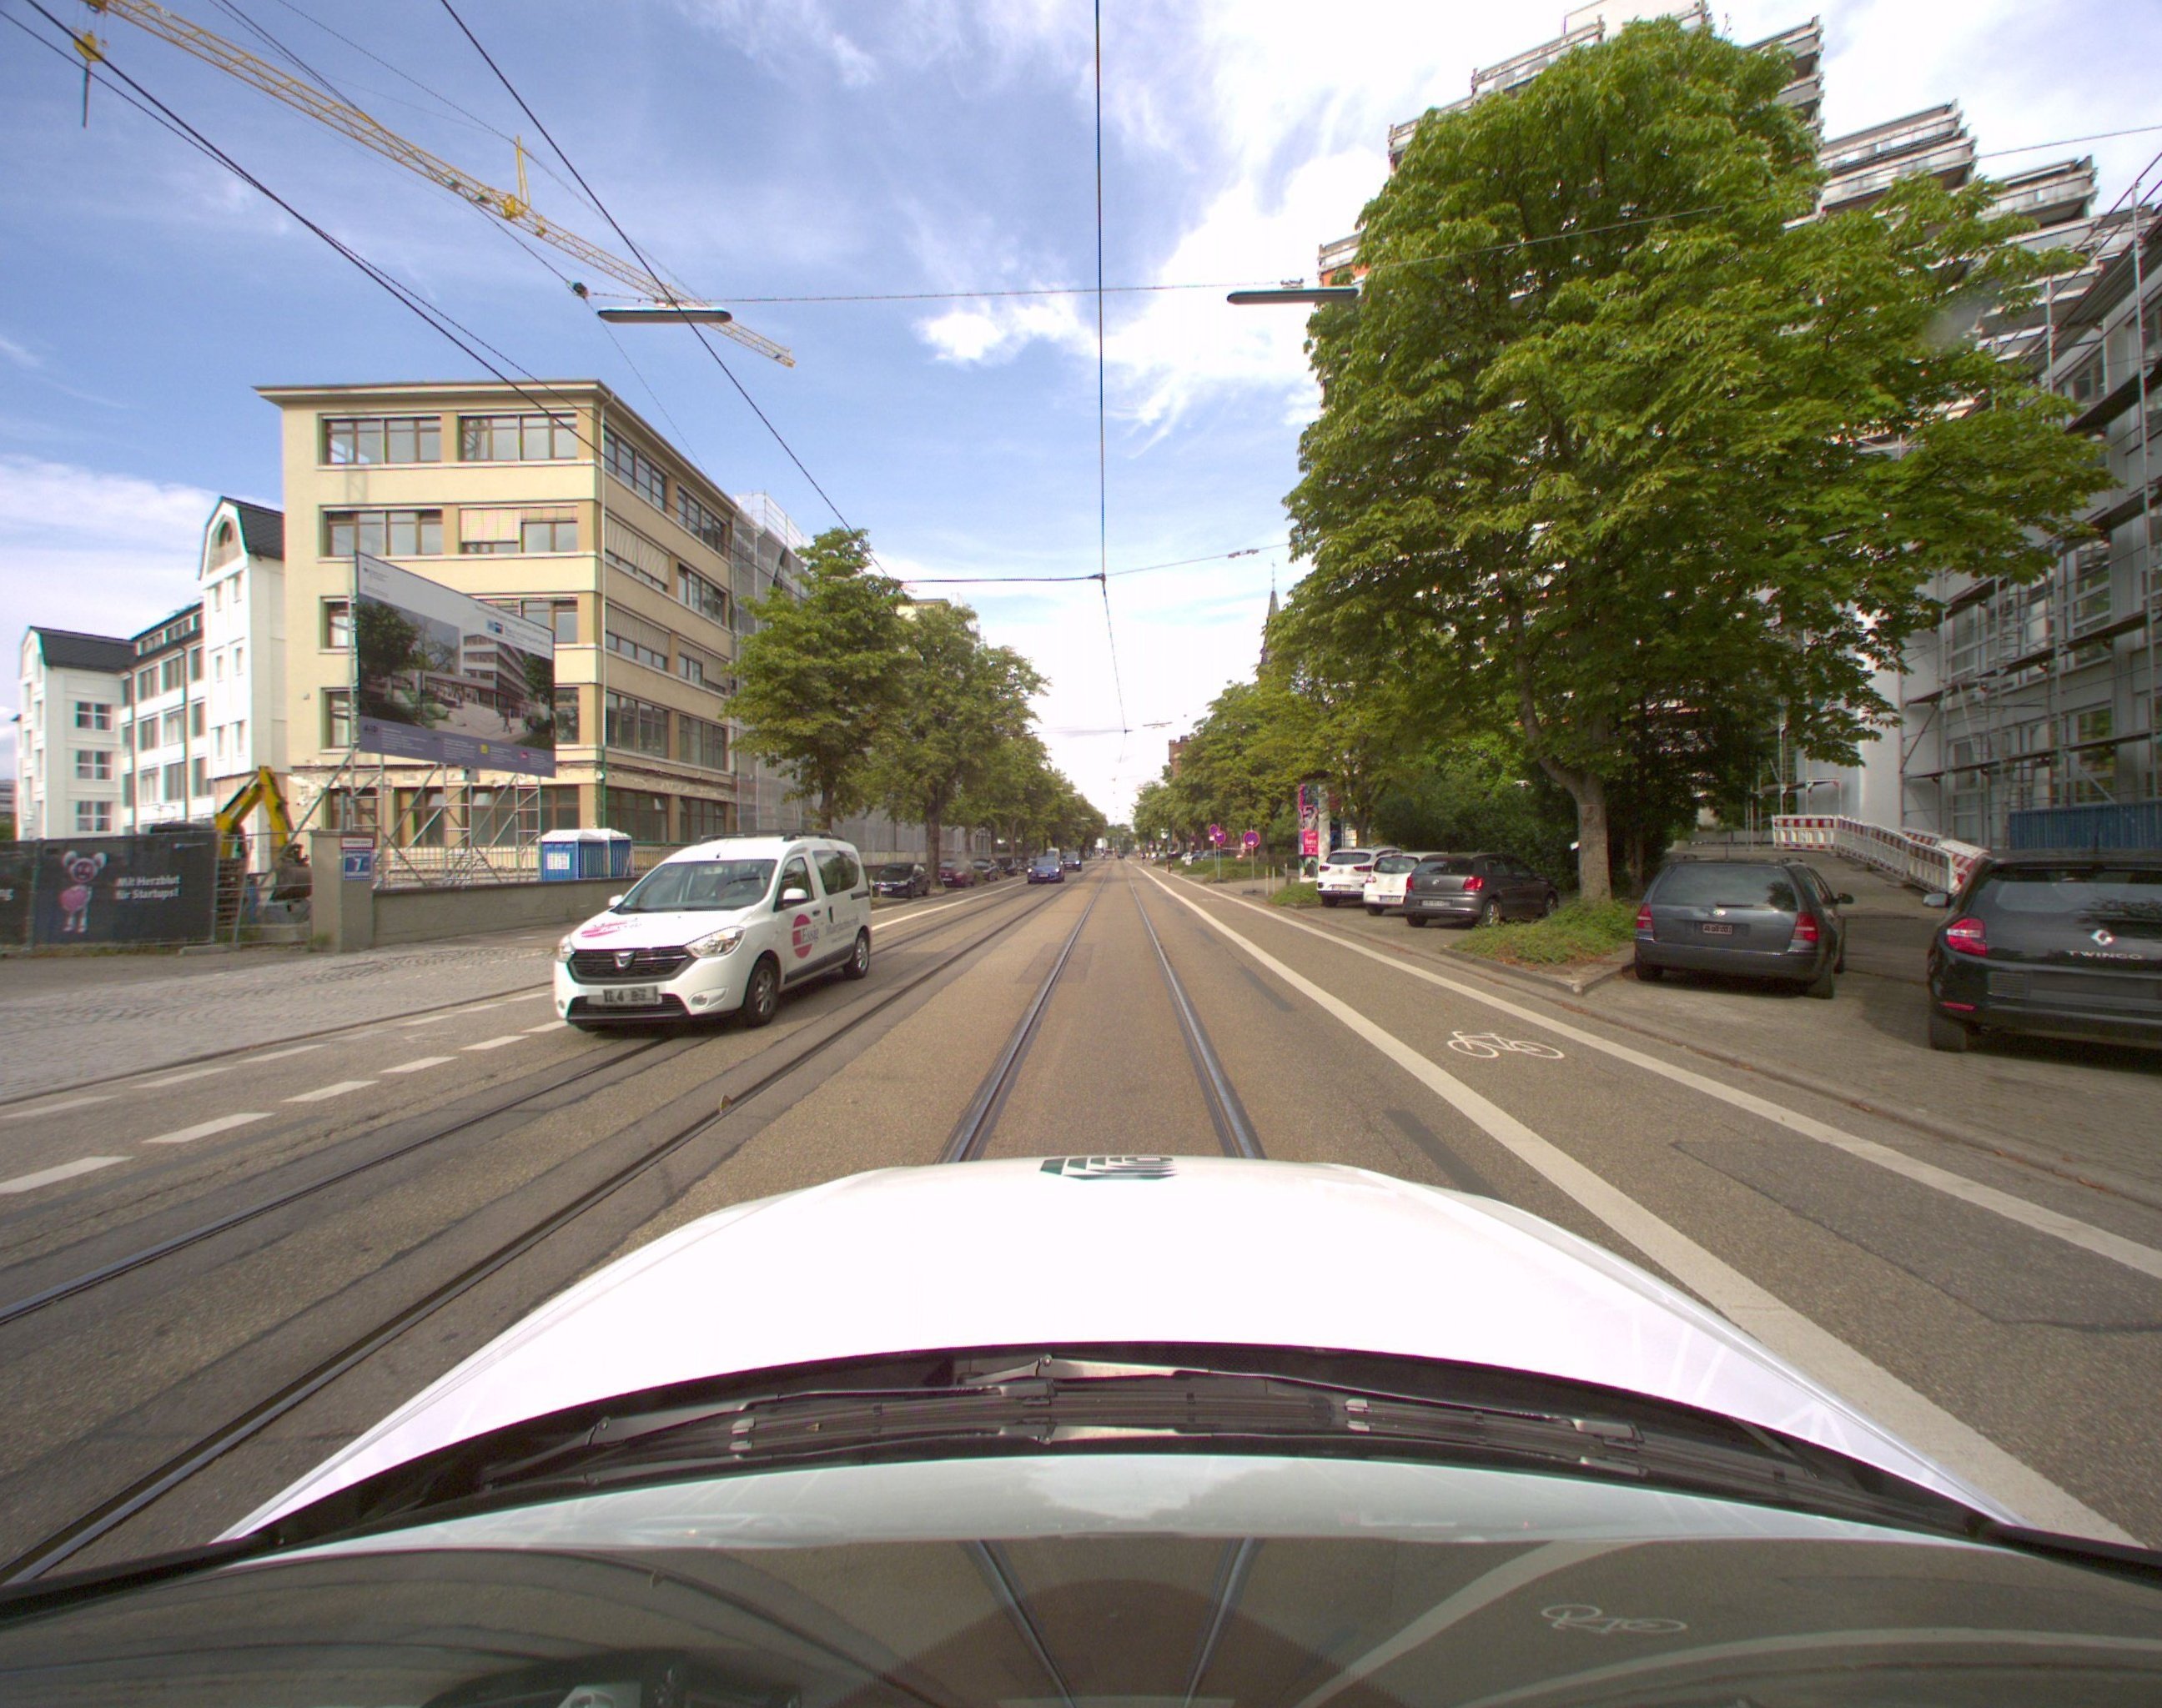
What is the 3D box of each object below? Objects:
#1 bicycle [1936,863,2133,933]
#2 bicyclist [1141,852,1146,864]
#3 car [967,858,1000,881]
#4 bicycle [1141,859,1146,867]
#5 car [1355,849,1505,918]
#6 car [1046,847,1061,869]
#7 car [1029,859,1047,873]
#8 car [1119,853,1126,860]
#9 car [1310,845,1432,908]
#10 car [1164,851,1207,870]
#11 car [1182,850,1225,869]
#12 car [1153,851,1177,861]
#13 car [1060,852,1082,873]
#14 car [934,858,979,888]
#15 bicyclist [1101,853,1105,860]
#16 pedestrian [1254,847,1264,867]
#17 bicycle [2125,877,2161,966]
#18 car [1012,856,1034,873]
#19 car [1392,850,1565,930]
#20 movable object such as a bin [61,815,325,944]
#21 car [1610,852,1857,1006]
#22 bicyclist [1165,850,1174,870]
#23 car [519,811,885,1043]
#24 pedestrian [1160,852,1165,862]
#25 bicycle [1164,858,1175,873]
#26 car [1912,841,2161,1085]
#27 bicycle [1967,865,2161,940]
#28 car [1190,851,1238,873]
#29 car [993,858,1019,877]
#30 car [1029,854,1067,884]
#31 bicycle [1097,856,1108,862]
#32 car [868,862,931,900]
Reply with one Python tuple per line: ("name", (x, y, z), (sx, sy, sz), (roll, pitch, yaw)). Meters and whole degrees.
("bicycle", (15.117, 0.666, 13.001), (1.952, 1.043, 0.598), (0, 0, 39))
("bicyclist", (8.041, 0.519, 104.961), (0.656, 1.496, 0.930), (-1, 0, 3))
("car", (-6.231, 0.956, 52.423), (1.585, 1.402, 3.962), (0, 0, 0))
("bicycle", (8.042, 1.147, 104.955), (0.661, 1.043, 1.842), (-1, 0, 3))
("car", (8.297, 0.628, 19.269), (3.663, 1.474, 1.663), (0, -1, -37))
("car", (-3.615, 0.509, 106.781), (1.715, 2.704, 5.470), (0, 0, 0))
("car", (-4.368, 1.196, 83.229), (1.585, 1.402, 3.962), (0, 0, 0))
("car", (11.259, 0.636, 222.789), (1.788, 1.824, 4.680), (0, 0, 2))
("car", (8.053, 0.566, 22.494), (3.667, 1.602, 1.661), (0, -1, -43))
("car", (9.063, 0.528, 70.441), (3.667, 1.602, 1.661), (0, -1, -43))
("car", (10.322, 0.446, 68.316), (3.667, 1.602, 1.661), (0, -1, -43))
("car", (14.871, 0.391, 144.628), (3.978, 1.693, 1.998), (-1, 0, -3))
("car", (-0.827, 0.703, 69.928), (1.726, 1.628, 4.380), (-2, 0, 2))
("car", (-6.548, 0.949, 43.222), (1.629, 1.496, 3.964), (0, 0, 2))
("bicyclist", (4.584, 0.504, 169.233), (0.841, 1.504, 0.771), (-1, 0, 10))
("pedestrian", (16.348, 0.299, 74.780), (0.779, 1.826, 0.665), (-1, 0, 22))
("bicycle", (13.616, 0.782, 9.428), (1.817, 1.043, 0.456), (-2, -1, 31))
("car", (-5.169, 0.928, 73.023), (1.585, 1.402, 3.962), (0, 0, 0))
("car", (8.026, 0.644, 16.346), (3.663, 1.419, 1.663), (0, -1, -37))
("movable object such as a bin", (-18.350, 0.500, 16.967), (3.030, 2.443, 2.506), (-1, -1, 12))
("car", (7.884, 0.707, 9.682), (4.194, 1.415, 1.794), (0, -1, -45))
("bicyclist", (6.571, 0.416, 60.485), (0.591, 1.459, 0.875), (-1, 0, 0))
("car", (-3.622, 0.592, 8.825), (1.725, 1.884, 4.381), (-1, 0, 3))
("pedestrian", (14.419, 0.603, 144.337), (0.741, 1.790, 0.734), (-1, -1, 17))
("bicycle", (6.571, 0.867, 60.482), (0.591, 1.043, 1.978), (-1, 0, 0))
("car", (7.888, 0.671, 6.494), (3.436, 1.537, 1.577), (-1, 0, -41))
("bicycle", (14.752, 0.692, 12.166), (1.952, 1.043, 0.598), (-1, 0, 30))
("car", (10.050, 0.597, 61.563), (3.667, 1.602, 1.661), (0, -1, -43))
("car", (-5.774, 0.998, 62.731), (1.585, 1.402, 3.962), (0, 0, 0))
("car", (-1.763, 0.772, 44.594), (1.725, 1.496, 4.381), (-1, 0, 2))
("bicycle", (4.524, 0.966, 169.246), (2.260, 1.189, 0.771), (-1, 0, 10))
("car", (-7.169, 1.023, 32.570), (1.585, 1.402, 3.962), (0, 0, 0))
